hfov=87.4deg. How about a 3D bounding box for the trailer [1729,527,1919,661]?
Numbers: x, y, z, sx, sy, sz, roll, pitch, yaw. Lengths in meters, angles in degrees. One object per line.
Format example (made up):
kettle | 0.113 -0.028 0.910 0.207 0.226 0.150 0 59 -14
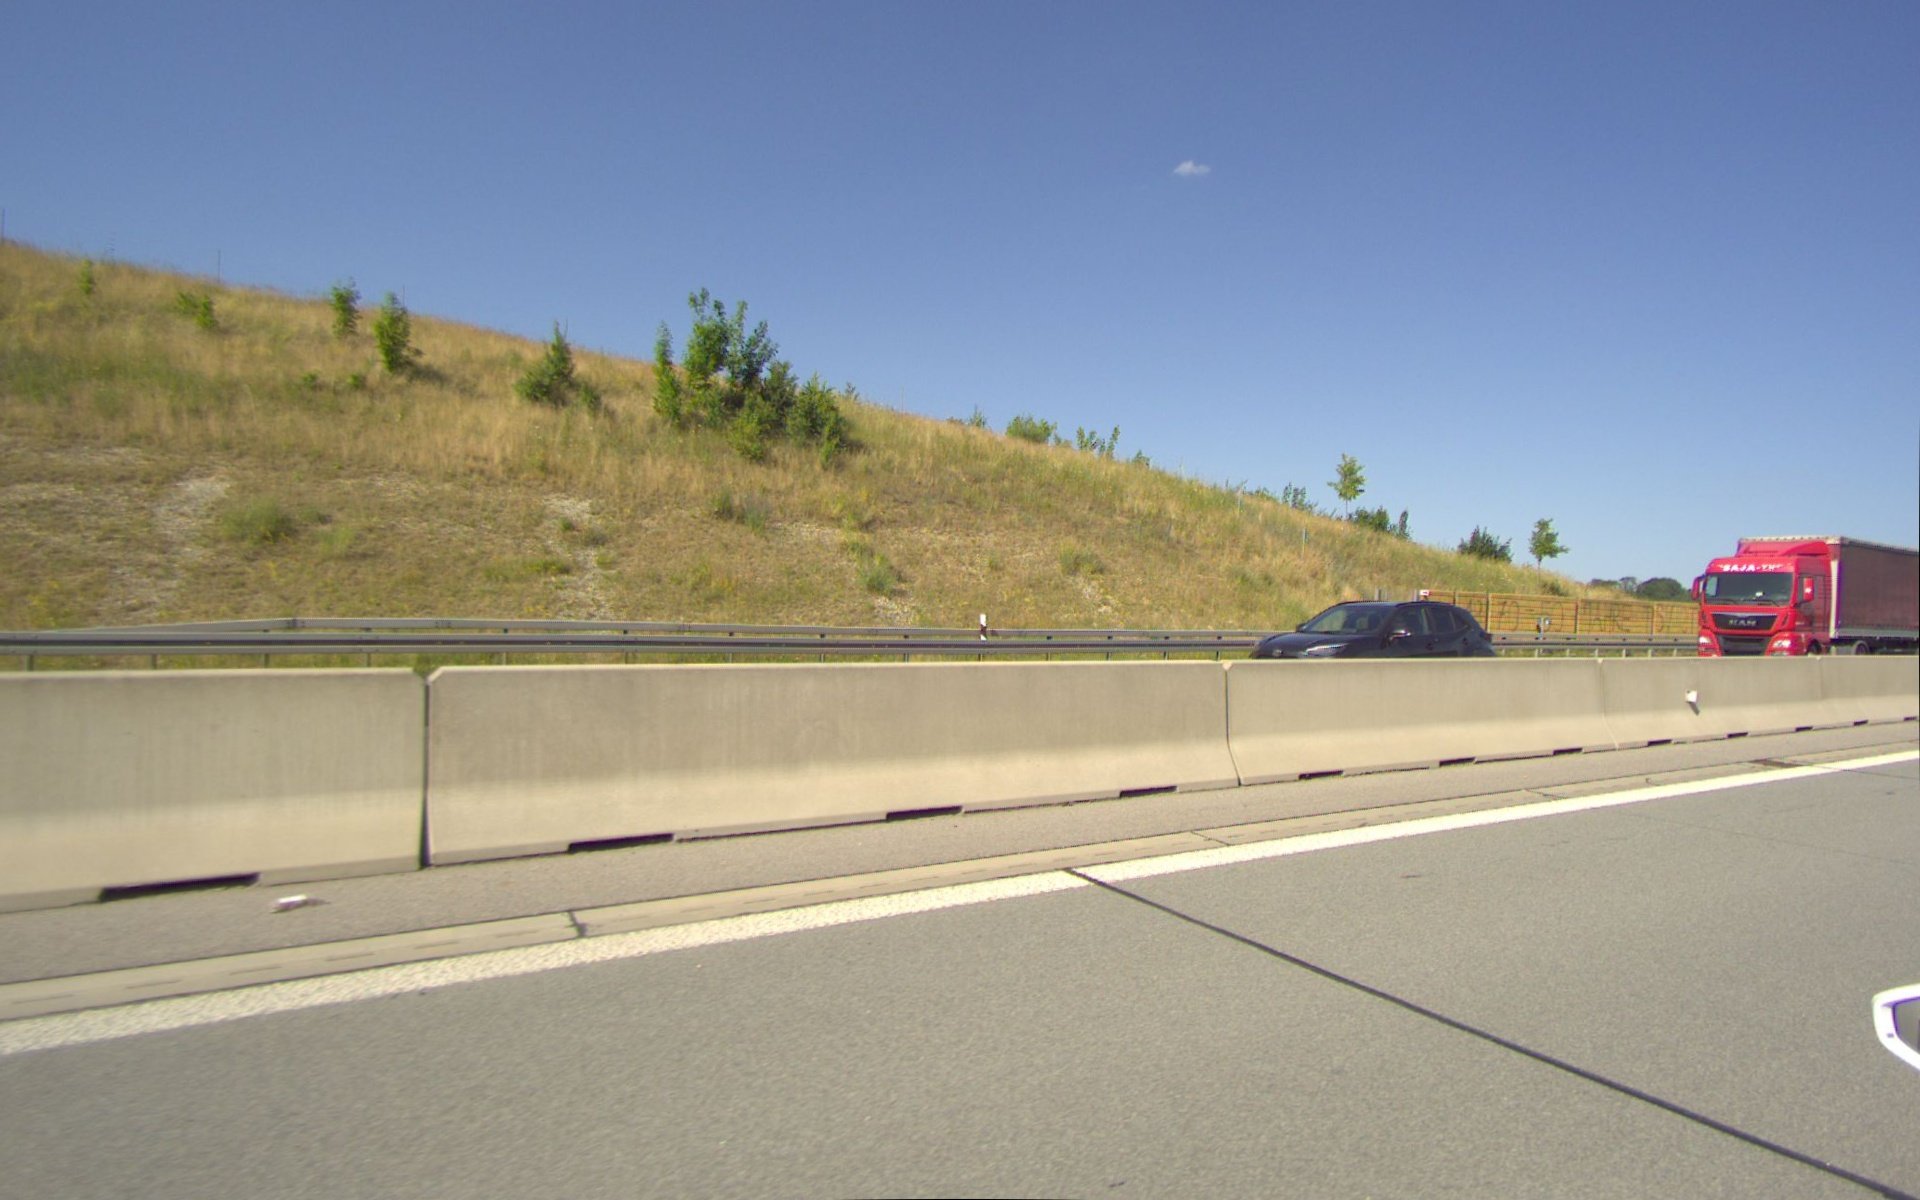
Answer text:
trailer | 30.884 0.001 34.344 13.582 3.927 2.624 2 0 -32

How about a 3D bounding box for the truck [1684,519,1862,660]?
truck | 24.759 -0.240 30.580 4.837 3.974 2.624 2 0 -30

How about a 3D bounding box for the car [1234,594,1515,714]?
car | 6.094 0.732 14.635 4.116 1.525 1.677 1 0 -32
